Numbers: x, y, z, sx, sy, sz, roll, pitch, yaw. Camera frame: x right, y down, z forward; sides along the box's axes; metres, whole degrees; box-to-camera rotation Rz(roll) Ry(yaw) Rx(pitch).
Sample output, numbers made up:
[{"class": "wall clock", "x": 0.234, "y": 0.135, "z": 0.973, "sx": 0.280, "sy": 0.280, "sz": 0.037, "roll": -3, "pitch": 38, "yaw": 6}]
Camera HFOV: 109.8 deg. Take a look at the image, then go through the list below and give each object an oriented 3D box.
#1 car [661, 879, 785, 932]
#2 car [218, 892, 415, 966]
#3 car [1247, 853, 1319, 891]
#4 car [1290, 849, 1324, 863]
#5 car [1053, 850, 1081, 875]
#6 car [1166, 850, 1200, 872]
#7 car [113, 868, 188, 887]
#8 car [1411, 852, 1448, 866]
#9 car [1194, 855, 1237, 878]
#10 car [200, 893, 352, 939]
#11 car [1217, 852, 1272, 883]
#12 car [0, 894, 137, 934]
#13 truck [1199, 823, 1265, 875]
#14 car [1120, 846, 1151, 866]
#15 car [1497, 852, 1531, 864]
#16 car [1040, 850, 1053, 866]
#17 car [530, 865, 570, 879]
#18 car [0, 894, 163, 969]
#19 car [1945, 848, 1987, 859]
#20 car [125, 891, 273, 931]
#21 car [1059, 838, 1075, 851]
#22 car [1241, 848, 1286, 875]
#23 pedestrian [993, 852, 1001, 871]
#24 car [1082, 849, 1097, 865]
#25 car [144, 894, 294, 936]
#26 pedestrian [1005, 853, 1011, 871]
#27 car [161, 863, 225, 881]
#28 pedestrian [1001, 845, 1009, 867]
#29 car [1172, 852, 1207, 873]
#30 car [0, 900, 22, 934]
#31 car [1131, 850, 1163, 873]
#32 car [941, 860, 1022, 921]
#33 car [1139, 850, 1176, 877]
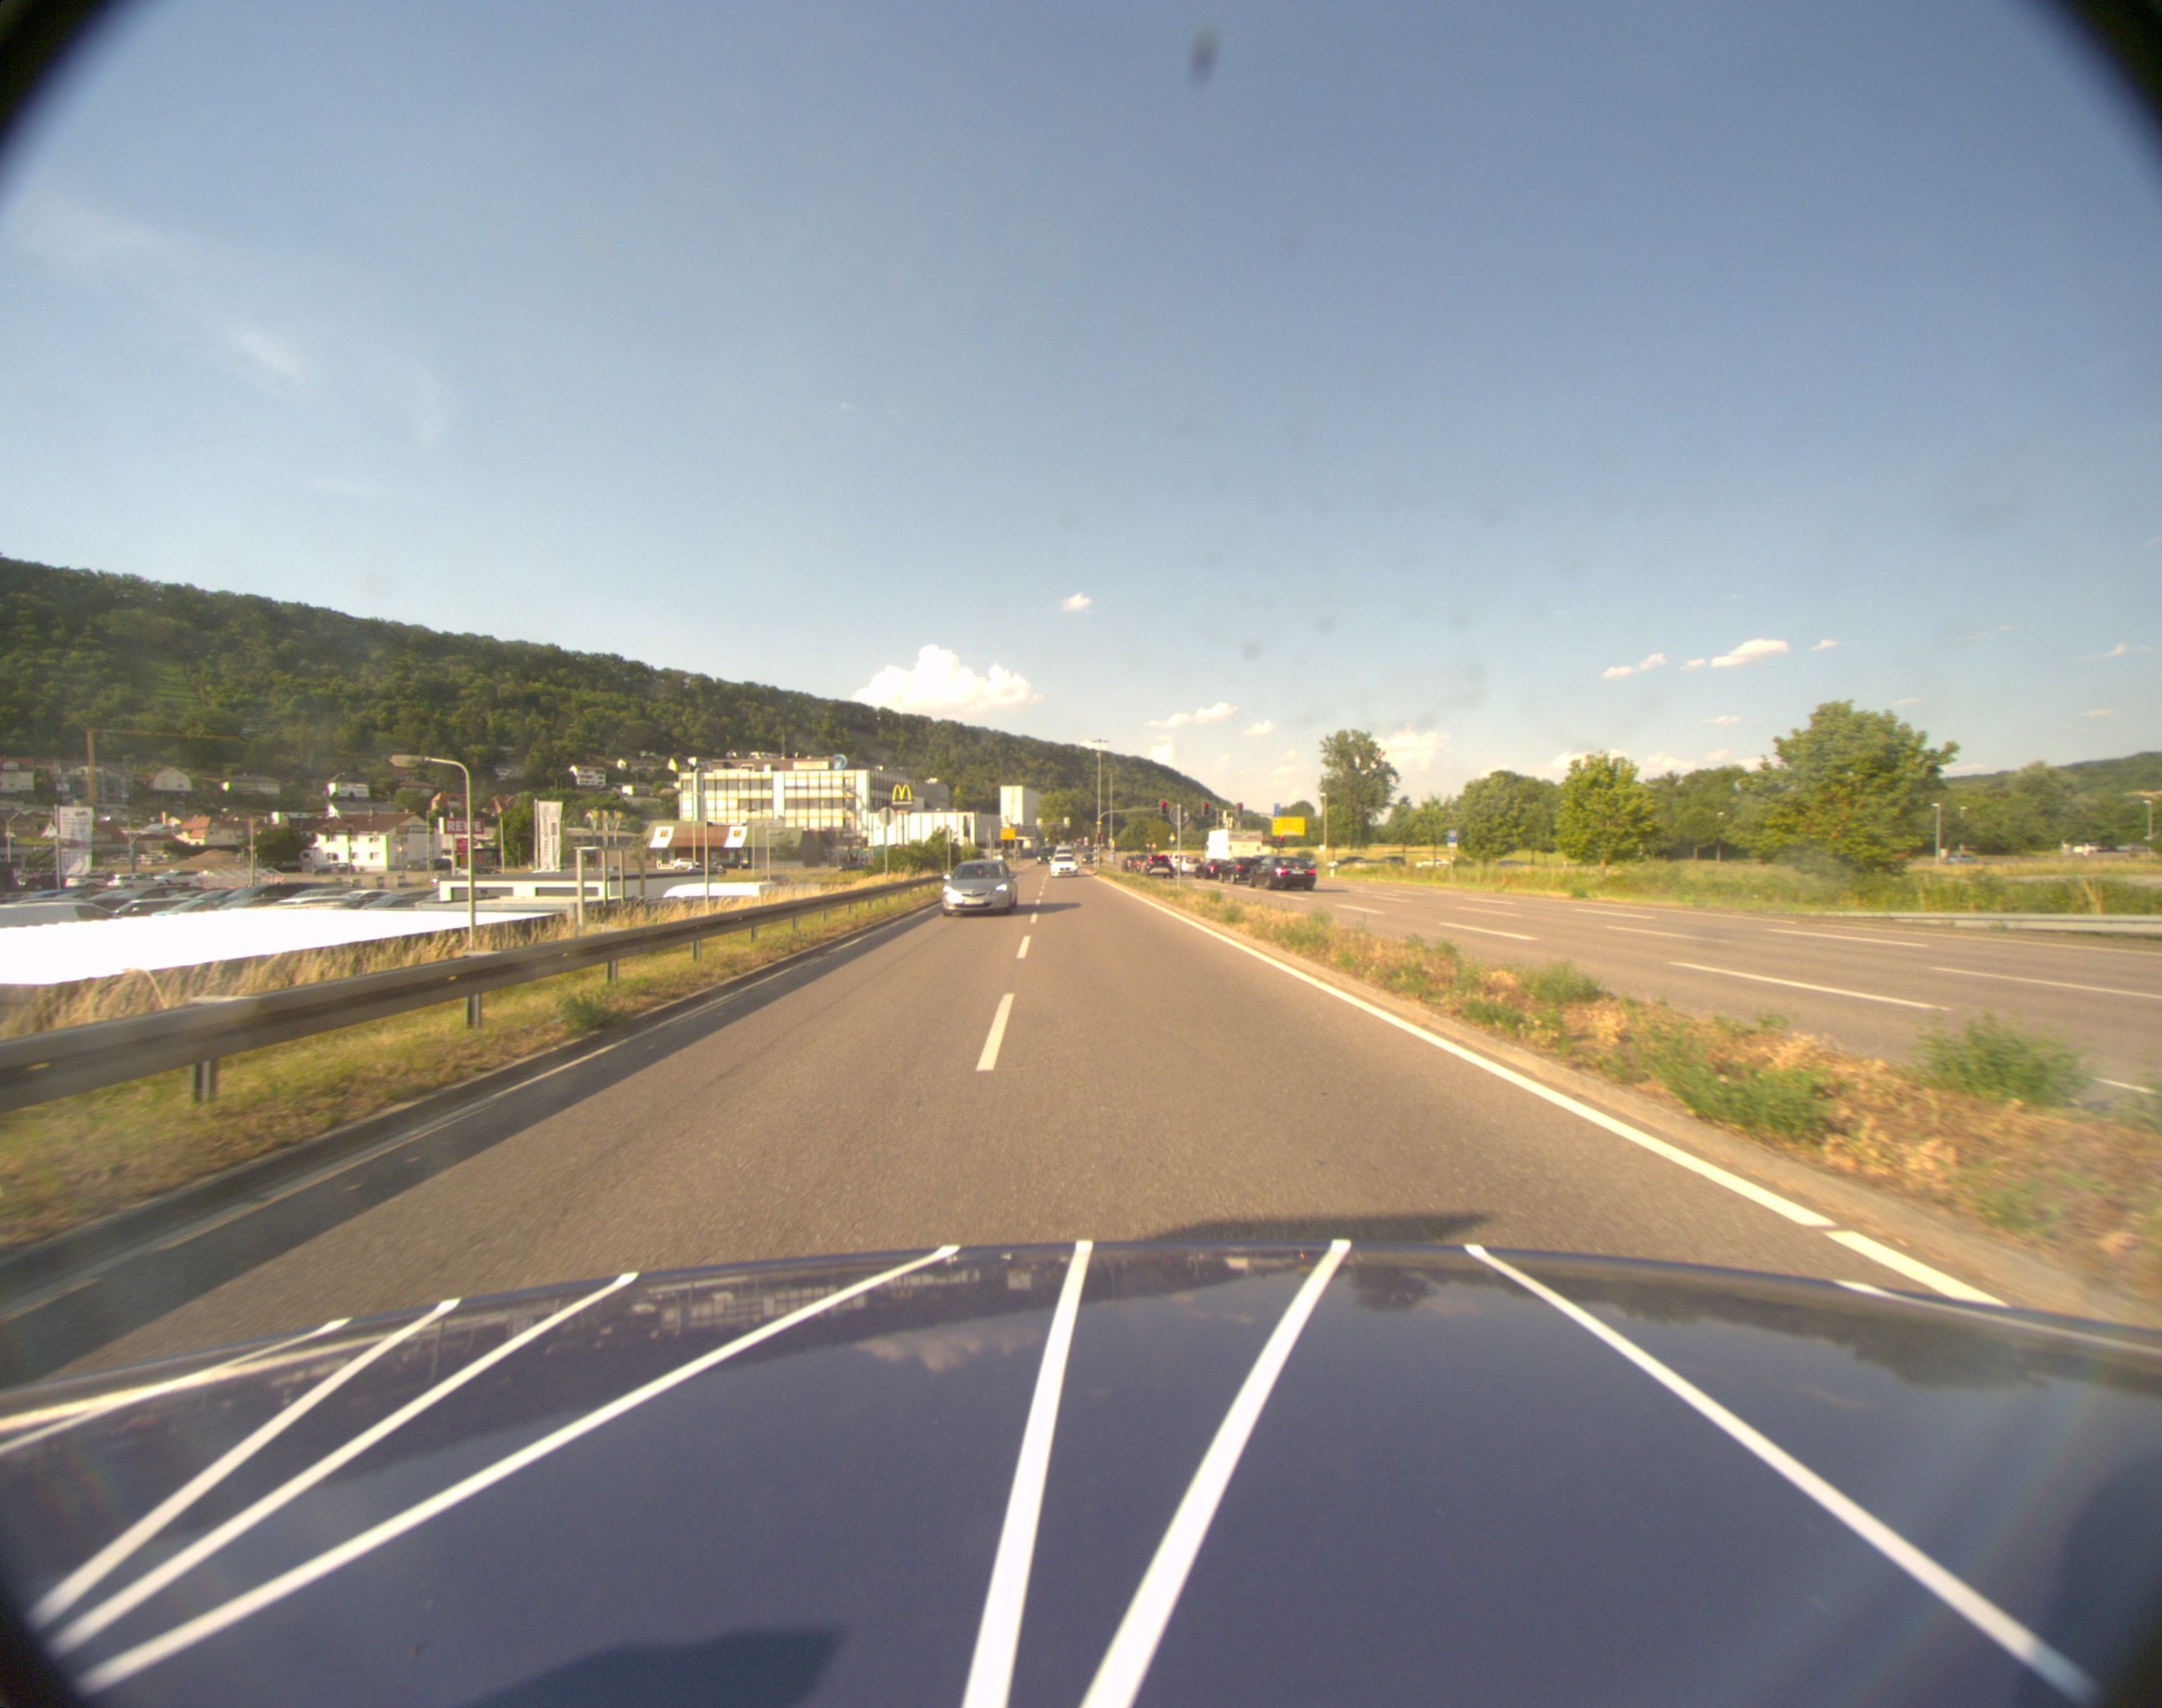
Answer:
[{"class": "car", "x": -14.240, "y": 2.018, "z": 30.362, "sx": 3.997, "sy": 1.806, "sz": 1.834, "roll": -2, "pitch": 2, "yaw": 1}, {"class": "car", "x": -26.418, "y": 2.512, "z": 26.576, "sx": 1.759, "sy": 1.941, "sz": 4.827, "roll": -2, "pitch": 1, "yaw": 3}, {"class": "car", "x": 8.585, "y": 0.729, "z": 32.703, "sx": 1.720, "sy": 1.455, "sz": 4.725, "roll": 1, "pitch": 0, "yaw": -2}, {"class": "car", "x": 28.273, "y": 0.267, "z": 95.145, "sx": 3.697, "sy": 1.609, "sz": 1.591, "roll": -2, "pitch": 2, "yaw": 2}, {"class": "car", "x": -0.962, "y": 0.582, "z": 53.656, "sx": 1.825, "sy": 1.552, "sz": 3.999, "roll": -2, "pitch": 1, "yaw": 0}, {"class": "car", "x": 8.225, "y": 0.533, "z": 61.609, "sx": 1.999, "sy": 1.669, "sz": 4.804, "roll": 0, "pitch": 1, "yaw": -2}, {"class": "car", "x": -88.741, "y": 2.204, "z": 72.569, "sx": 1.837, "sy": 1.554, "sz": 4.338, "roll": 0, "pitch": 1, "yaw": -2}, {"class": "car", "x": 46.223, "y": 0.619, "z": 100.811, "sx": 4.259, "sy": 1.609, "sz": 1.590, "roll": -2, "pitch": 2, "yaw": -7}, {"class": "car", "x": 8.371, "y": 0.746, "z": 47.641, "sx": 1.706, "sy": 1.276, "sz": 4.817, "roll": 1, "pitch": 0, "yaw": -2}, {"class": "car", "x": -37.351, "y": 2.829, "z": 35.475, "sx": 1.759, "sy": 1.557, "sz": 4.827, "roll": -2, "pitch": 1, "yaw": 3}, {"class": "car", "x": 8.419, "y": 0.658, "z": 39.476, "sx": 1.707, "sy": 1.465, "sz": 4.243, "roll": 1, "pitch": 1, "yaw": -2}, {"class": "car", "x": -49.373, "y": 2.866, "z": 36.657, "sx": 1.756, "sy": 1.452, "sz": 4.487, "roll": -1, "pitch": 2, "yaw": 28}, {"class": "truck", "x": 11.724, "y": -0.462, "z": 60.005, "sx": 2.940, "sy": 3.669, "sz": 10.495, "roll": 2, "pitch": 1, "yaw": 0}, {"class": "car", "x": 4.247, "y": 0.126, "z": 59.924, "sx": 1.795, "sy": 1.458, "sz": 4.926, "roll": 0, "pitch": 1, "yaw": -3}, {"class": "car", "x": 51.758, "y": 0.453, "z": 90.826, "sx": 3.422, "sy": 1.325, "sz": 1.379, "roll": -2, "pitch": 2, "yaw": -7}, {"class": "car", "x": -5.048, "y": 0.554, "z": 111.879, "sx": 1.795, "sy": 2.155, "sz": 4.587, "roll": 0, "pitch": 1, "yaw": -3}, {"class": "car", "x": -64.703, "y": 2.186, "z": 92.616, "sx": 3.649, "sy": 1.412, "sz": 1.690, "roll": -2, "pitch": 2, "yaw": 4}, {"class": "car", "x": -38.034, "y": 2.843, "z": 27.966, "sx": 1.759, "sy": 2.233, "sz": 5.297, "roll": -2, "pitch": 2, "yaw": 3}, {"class": "car", "x": 117.946, "y": -0.081, "z": 101.266, "sx": 3.748, "sy": 1.360, "sz": 1.767, "roll": 0, "pitch": 1, "yaw": -6}, {"class": "car", "x": -44.424, "y": 2.832, "z": 38.424, "sx": 1.757, "sy": 1.557, "sz": 4.485, "roll": -2, "pitch": 2, "yaw": 21}, {"class": "car", "x": -1.571, "y": -1.063, "z": 85.209, "sx": 1.691, "sy": 1.383, "sz": 3.882, "roll": -1, "pitch": 1, "yaw": 0}, {"class": "car", "x": 11.498, "y": 0.456, "z": 48.133, "sx": 1.767, "sy": 1.520, "sz": 3.998, "roll": 1, "pitch": 1, "yaw": -1}, {"class": "pedestrian", "x": -7.558, "y": 0.664, "z": 68.629, "sx": 0.532, "sy": 1.740, "sz": 0.537, "roll": 3, "pitch": 2, "yaw": 4}, {"class": "car", "x": 1.123, "y": 0.438, "z": 106.312, "sx": 1.795, "sy": 2.155, "sz": 4.587, "roll": 0, "pitch": 1, "yaw": -3}, {"class": "car", "x": -42.121, "y": 2.942, "z": 37.308, "sx": 1.757, "sy": 1.557, "sz": 4.484, "roll": -2, "pitch": 2, "yaw": 16}, {"class": "pedestrian", "x": -6.775, "y": 0.742, "z": 70.343, "sx": 0.573, "sy": 1.606, "sz": 0.622, "roll": 1, "pitch": 2, "yaw": -6}, {"class": "car", "x": -90.807, "y": 1.835, "z": 77.774, "sx": 1.791, "sy": 1.646, "sz": 3.998, "roll": -2, "pitch": 1, "yaw": -2}, {"class": "pedestrian", "x": -6.697, "y": 0.188, "z": 66.998, "sx": 0.620, "sy": 1.872, "sz": 0.861, "roll": 0, "pitch": 2, "yaw": -2}, {"class": "car", "x": 7.890, "y": 0.588, "z": 55.790, "sx": 1.706, "sy": 1.397, "sz": 5.079, "roll": 0, "pitch": 1, "yaw": -2}, {"class": "car", "x": -57.164, "y": 3.372, "z": 37.709, "sx": 1.757, "sy": 1.680, "sz": 5.011, "roll": -2, "pitch": 2, "yaw": 21}, {"class": "car", "x": 4.631, "y": 0.521, "z": 53.757, "sx": 1.785, "sy": 1.528, "sz": 4.571, "roll": 0, "pitch": -1, "yaw": -1}, {"class": "car", "x": -2.648, "y": 0.936, "z": 21.000, "sx": 1.691, "sy": 1.383, "sz": 3.882, "roll": -1, "pitch": 1, "yaw": 0}, {"class": "car", "x": 4.755, "y": 0.570, "z": 47.571, "sx": 1.785, "sy": 1.511, "sz": 3.998, "roll": 1, "pitch": 1, "yaw": -1}]
